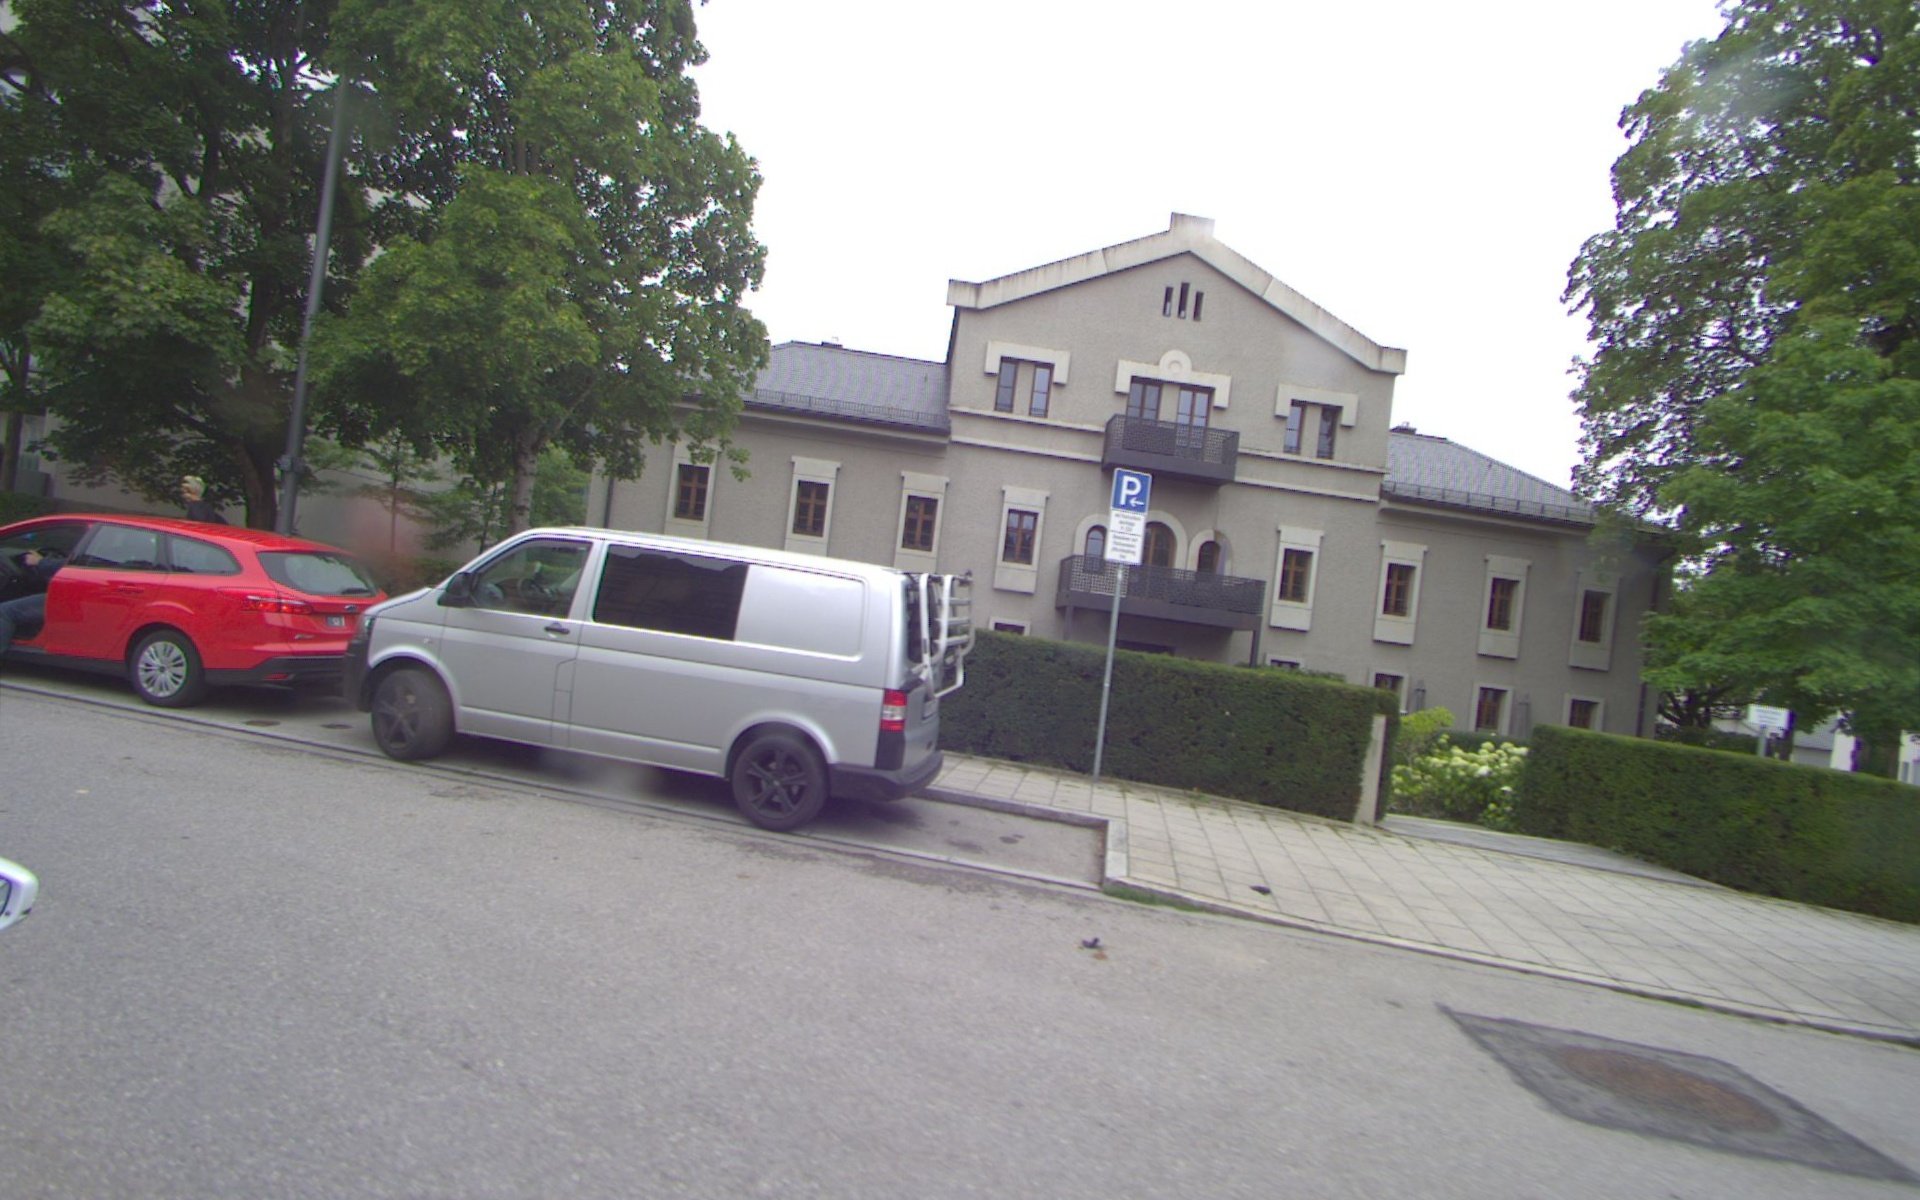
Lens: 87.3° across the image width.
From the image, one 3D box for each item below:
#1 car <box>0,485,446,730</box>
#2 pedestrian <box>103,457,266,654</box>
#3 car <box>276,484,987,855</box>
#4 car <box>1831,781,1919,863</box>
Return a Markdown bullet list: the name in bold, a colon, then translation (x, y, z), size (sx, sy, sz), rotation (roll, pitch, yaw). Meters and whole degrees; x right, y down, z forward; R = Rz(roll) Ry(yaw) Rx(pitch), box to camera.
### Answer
- **car**: translation (-7.508, -0.067, 9.075), size (4.746, 1.526, 1.877), rotation (8, 1, 6)
- **pedestrian**: translation (-8.266, -0.449, 10.753), size (0.848, 1.925, 0.799), rotation (8, -2, 14)
- **car**: translation (-2.474, 0.451, 8.172), size (4.975, 1.929, 1.941), rotation (8, 1, 9)
- **car**: translation (25.211, 5.944, 26.575), size (1.906, 1.681, 4.018), rotation (8, -2, 22)
